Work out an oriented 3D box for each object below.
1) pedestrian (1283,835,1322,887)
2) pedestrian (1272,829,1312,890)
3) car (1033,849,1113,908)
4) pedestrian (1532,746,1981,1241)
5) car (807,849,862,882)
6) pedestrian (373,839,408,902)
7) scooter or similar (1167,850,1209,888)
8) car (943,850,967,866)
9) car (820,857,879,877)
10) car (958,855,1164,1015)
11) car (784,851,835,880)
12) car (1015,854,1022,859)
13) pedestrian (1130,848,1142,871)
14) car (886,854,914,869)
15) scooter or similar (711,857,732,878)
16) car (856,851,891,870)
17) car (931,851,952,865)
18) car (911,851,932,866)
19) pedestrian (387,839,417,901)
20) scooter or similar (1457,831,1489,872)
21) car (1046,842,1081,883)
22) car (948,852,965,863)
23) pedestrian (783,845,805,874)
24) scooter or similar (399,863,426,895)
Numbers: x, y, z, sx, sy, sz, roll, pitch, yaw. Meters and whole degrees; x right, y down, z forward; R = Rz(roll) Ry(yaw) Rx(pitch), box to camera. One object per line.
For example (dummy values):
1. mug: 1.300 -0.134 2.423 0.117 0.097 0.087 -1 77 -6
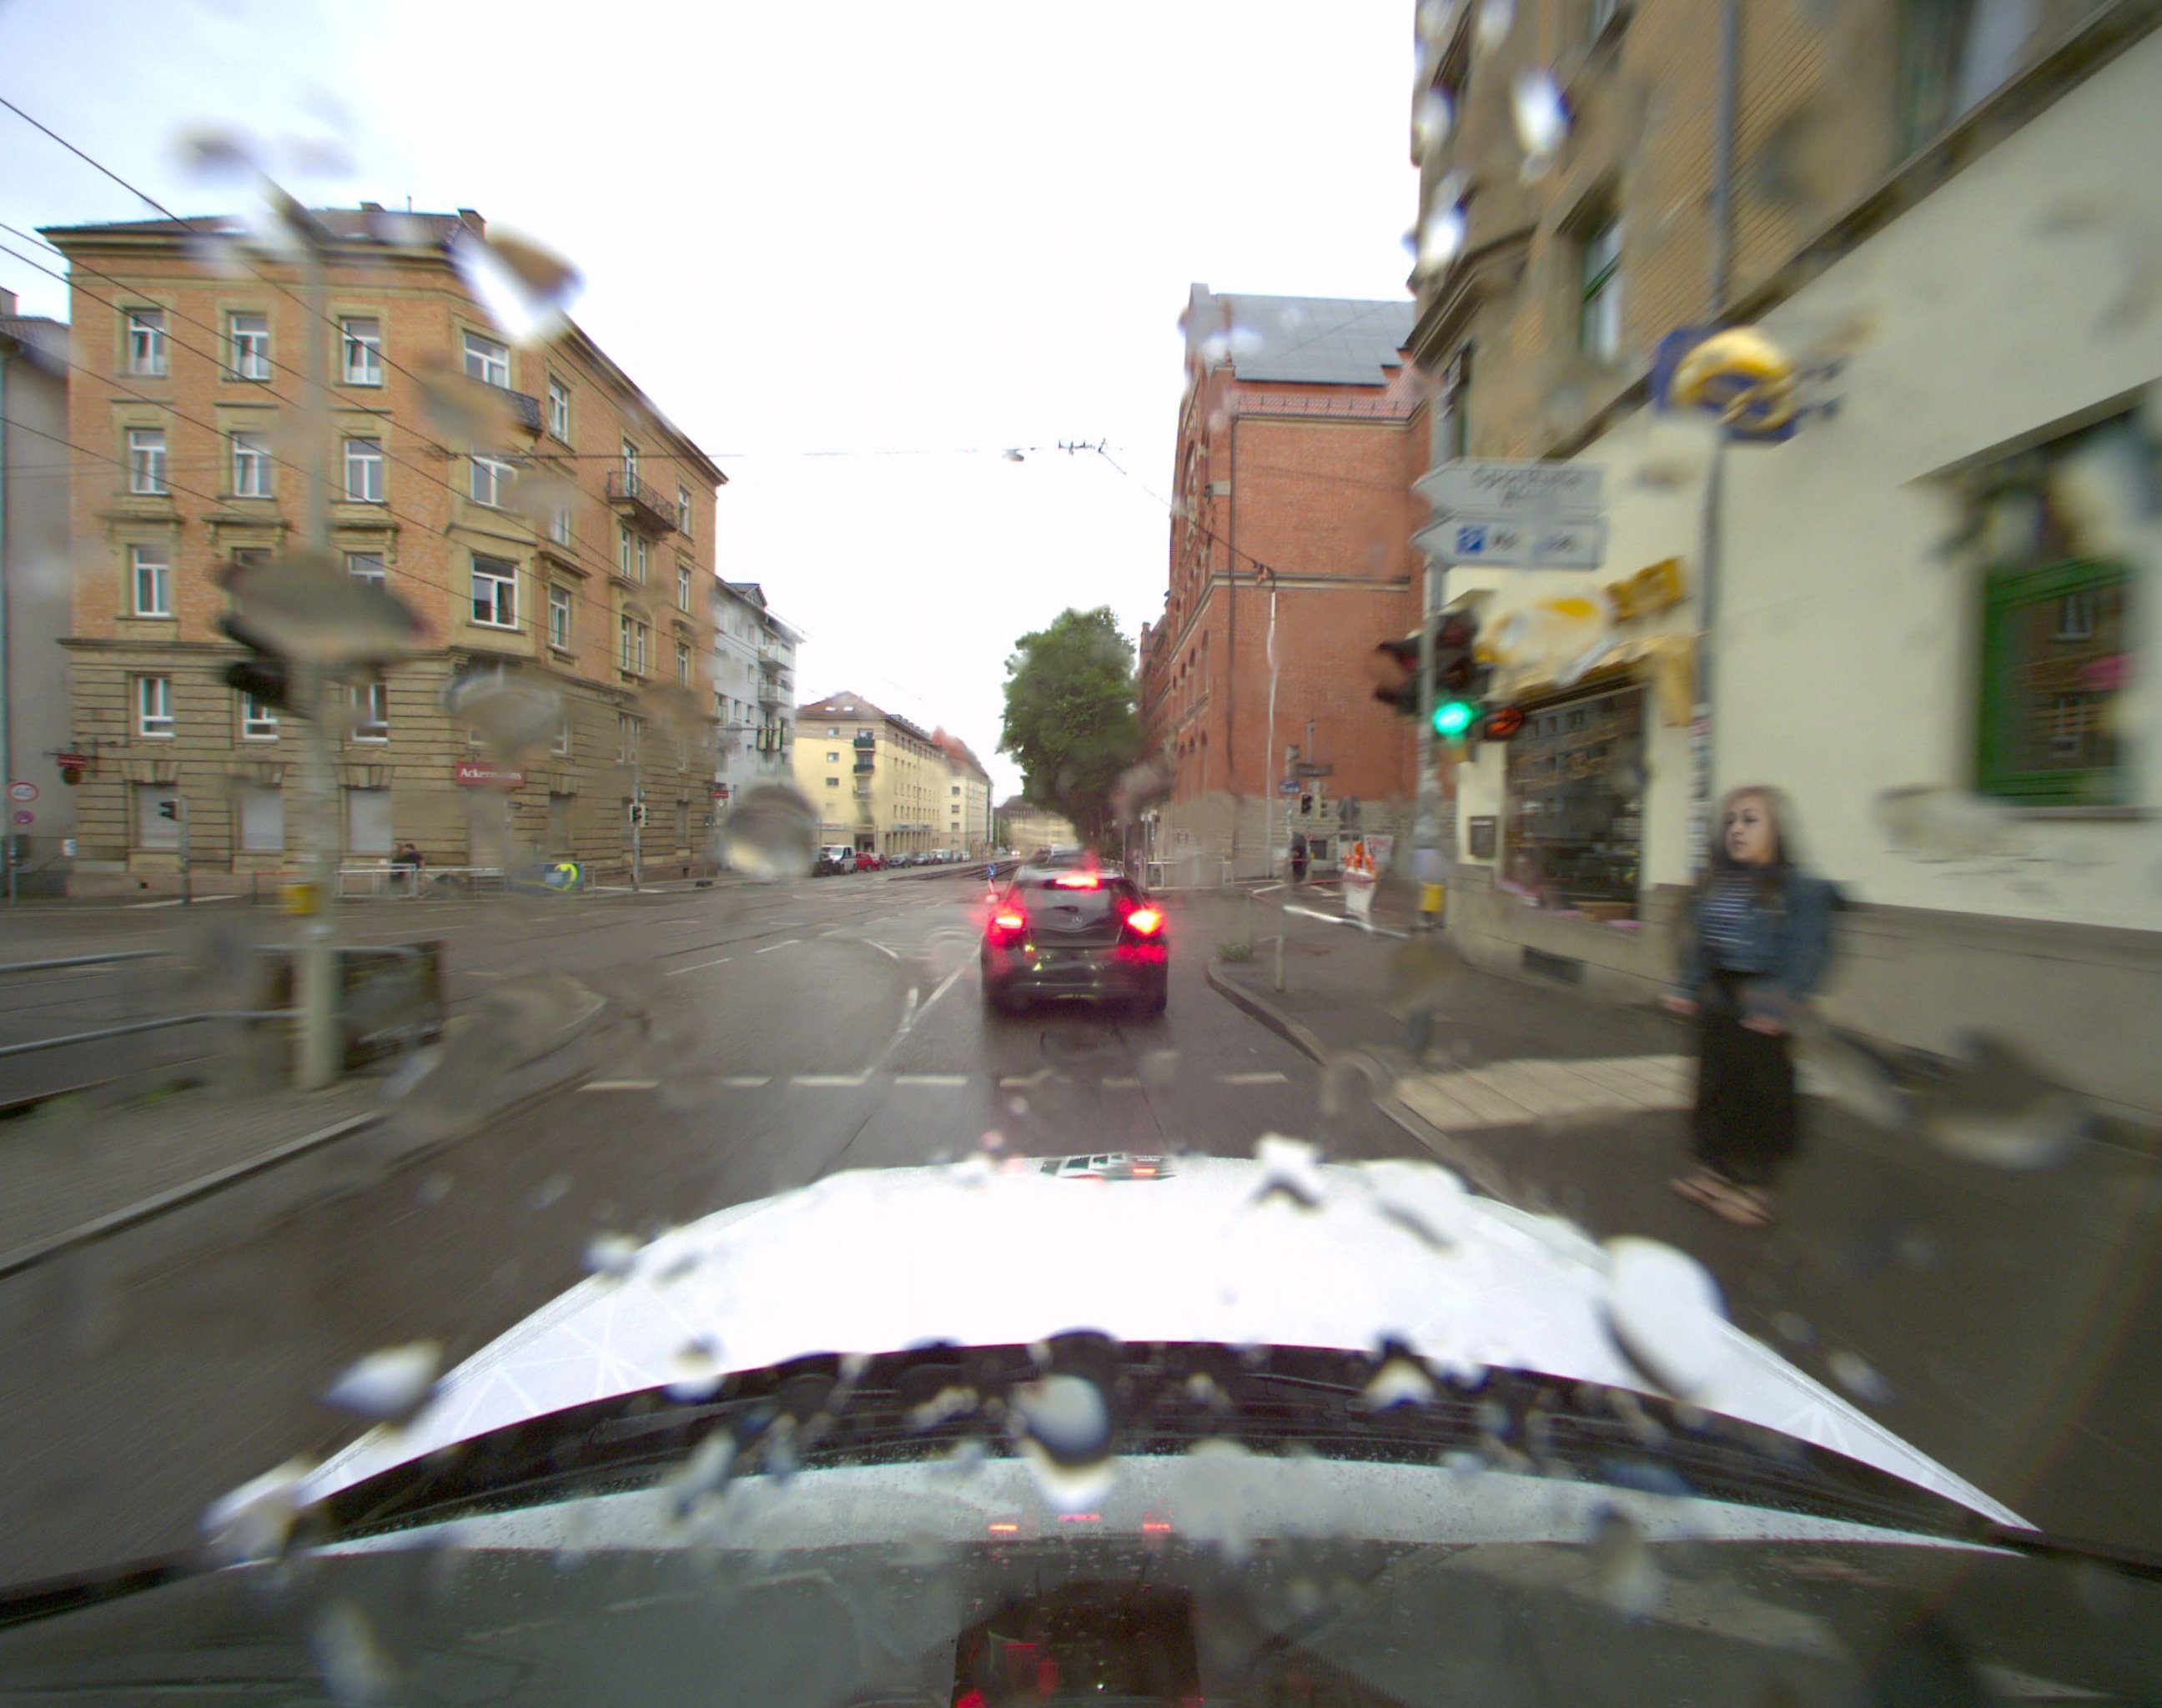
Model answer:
1. pedestrian: 7.267 0.223 26.723 0.955 1.625 1.073 -1 0 -2
2. pedestrian: 6.654 0.170 25.737 0.955 1.887 1.073 -1 0 -2
3. car: -0.328 0.624 22.714 1.930 1.453 4.311 1 0 -4
4. pedestrian: 2.667 0.496 3.373 1.013 1.720 0.930 -3 -1 0
5. car: -16.725 0.715 55.535 2.064 2.009 5.299 3 0 -1
6. pedestrian: -19.951 0.462 23.547 0.630 1.766 0.633 -2 4 -34
7. scooter or similar: 3.558 0.505 27.064 1.236 1.250 0.641 -1 -1 20
8. car: -16.384 0.515 106.189 1.986 1.905 5.463 2 0 2
9. car: -17.123 0.957 60.272 1.763 1.434 4.007 1 0 33
10. car: -0.233 0.732 9.200 1.789 1.375 3.997 1 0 -2
11. car: -16.438 0.670 49.478 1.728 1.651 4.361 1 0 -2
12. car: -17.989 0.655 234.978 1.708 1.462 4.276 0 0 -3
13. pedestrian: 3.952 0.381 58.546 0.820 1.678 0.860 0 -1 1
14. car: -16.744 0.680 75.533 1.675 1.396 4.618 0 0 -2
15. scooter or similar: -22.071 0.806 49.989 1.090 1.209 0.315 -3 0 -12
16. car: -16.815 0.517 66.290 1.647 1.451 4.076 0 0 2
17. car: -17.142 0.475 100.524 1.861 1.717 4.458 0 0 -1
18. car: -17.310 0.498 88.744 1.849 1.508 4.980 0 0 -6
19. pedestrian: -20.268 0.470 24.322 0.630 1.840 0.633 0 0 -34
20. scooter or similar: 14.053 -0.119 29.215 0.407 1.418 1.518 0 3 0
21. car: -0.945 0.437 42.979 1.736 2.014 3.899 0 0 -3
22. car: -17.667 0.423 116.013 1.808 1.499 4.580 2 0 -1
23. pedestrian: -19.300 0.367 54.864 1.171 1.929 1.174 1 0 -9
24. scooter or similar: -20.057 0.750 24.435 0.557 0.945 0.572 0 0 -32
